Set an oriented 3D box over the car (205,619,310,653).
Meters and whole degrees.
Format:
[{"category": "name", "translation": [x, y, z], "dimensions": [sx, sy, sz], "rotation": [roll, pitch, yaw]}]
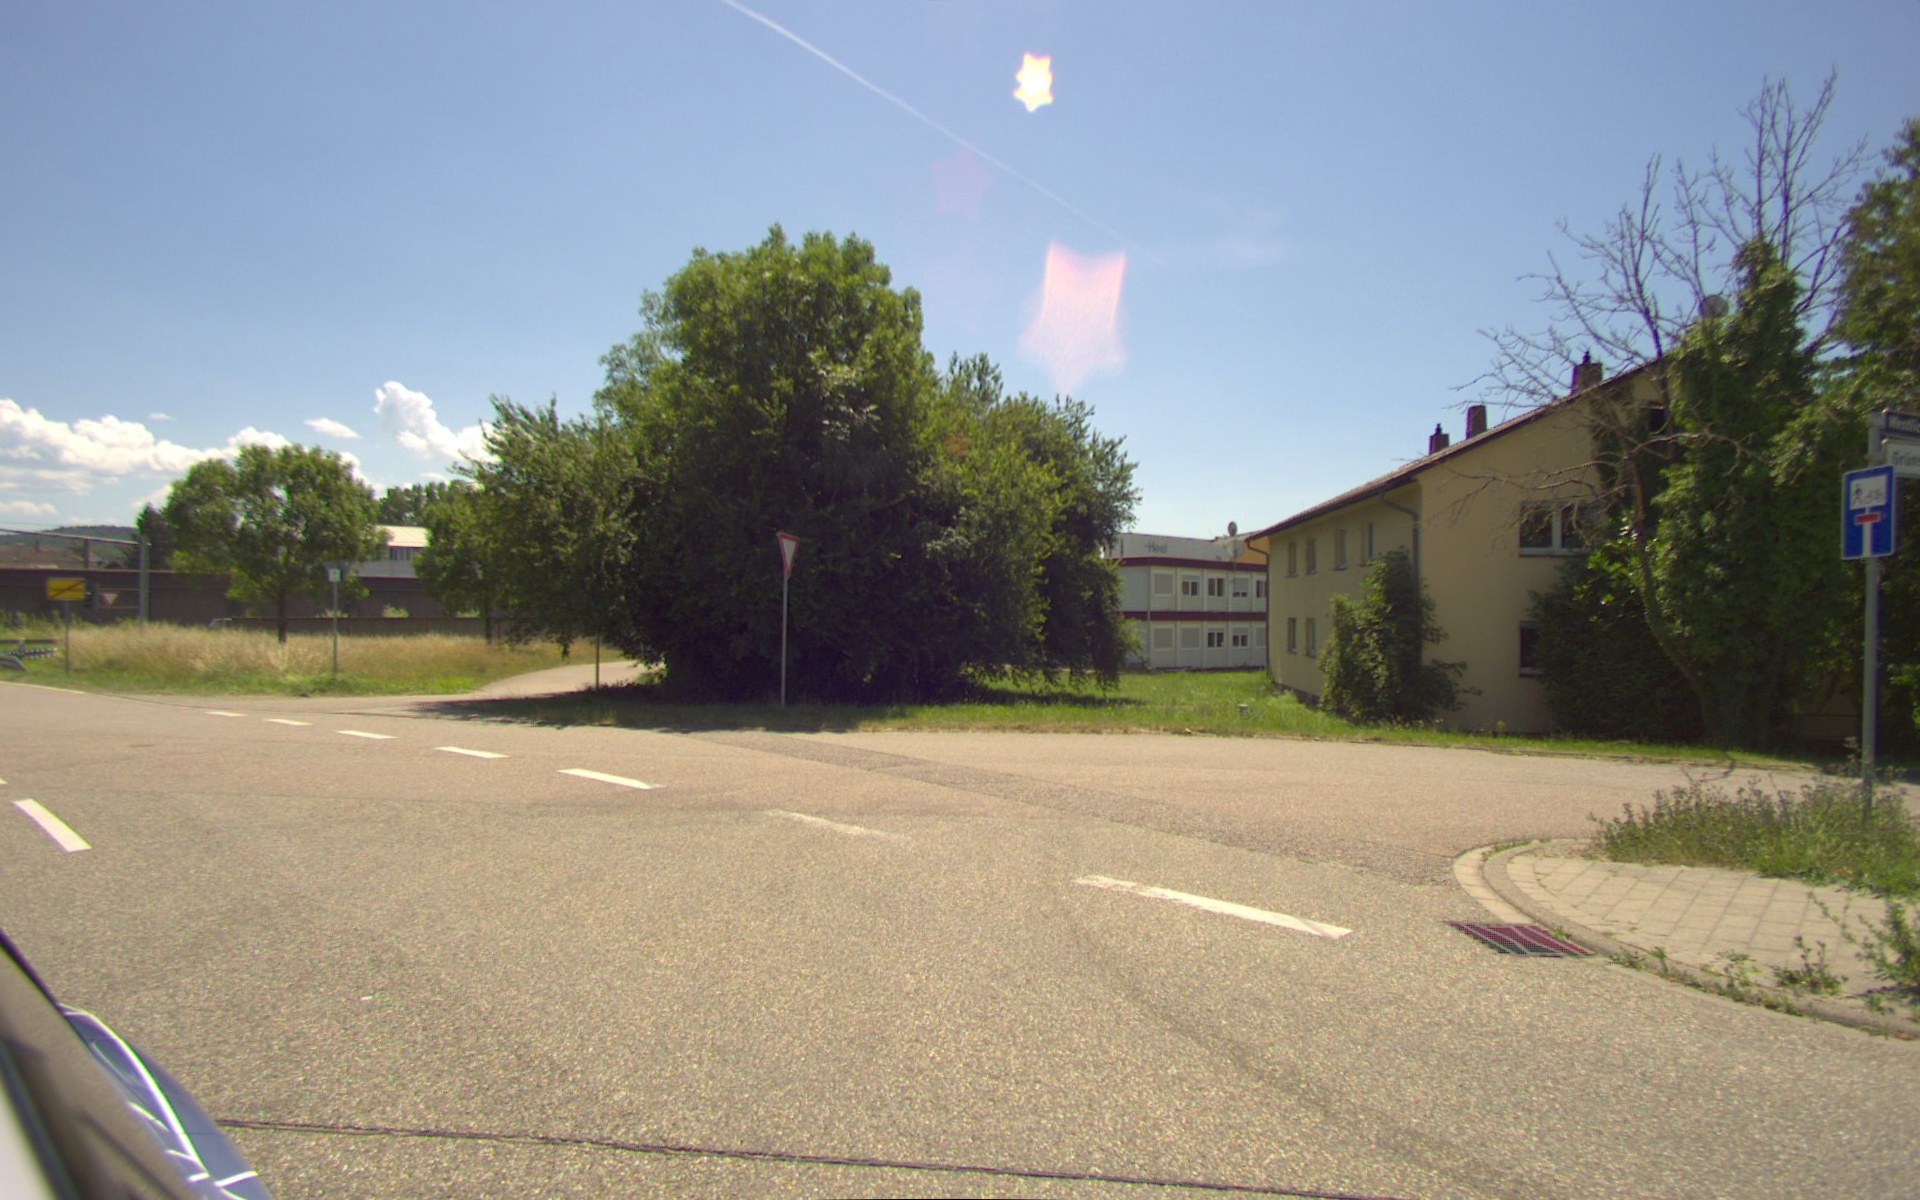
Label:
[{"category": "car", "translation": [-39.122, 2.043, 56.417], "dimensions": [2.000, 1.735, 4.422], "rotation": [2, -1, 41]}]
